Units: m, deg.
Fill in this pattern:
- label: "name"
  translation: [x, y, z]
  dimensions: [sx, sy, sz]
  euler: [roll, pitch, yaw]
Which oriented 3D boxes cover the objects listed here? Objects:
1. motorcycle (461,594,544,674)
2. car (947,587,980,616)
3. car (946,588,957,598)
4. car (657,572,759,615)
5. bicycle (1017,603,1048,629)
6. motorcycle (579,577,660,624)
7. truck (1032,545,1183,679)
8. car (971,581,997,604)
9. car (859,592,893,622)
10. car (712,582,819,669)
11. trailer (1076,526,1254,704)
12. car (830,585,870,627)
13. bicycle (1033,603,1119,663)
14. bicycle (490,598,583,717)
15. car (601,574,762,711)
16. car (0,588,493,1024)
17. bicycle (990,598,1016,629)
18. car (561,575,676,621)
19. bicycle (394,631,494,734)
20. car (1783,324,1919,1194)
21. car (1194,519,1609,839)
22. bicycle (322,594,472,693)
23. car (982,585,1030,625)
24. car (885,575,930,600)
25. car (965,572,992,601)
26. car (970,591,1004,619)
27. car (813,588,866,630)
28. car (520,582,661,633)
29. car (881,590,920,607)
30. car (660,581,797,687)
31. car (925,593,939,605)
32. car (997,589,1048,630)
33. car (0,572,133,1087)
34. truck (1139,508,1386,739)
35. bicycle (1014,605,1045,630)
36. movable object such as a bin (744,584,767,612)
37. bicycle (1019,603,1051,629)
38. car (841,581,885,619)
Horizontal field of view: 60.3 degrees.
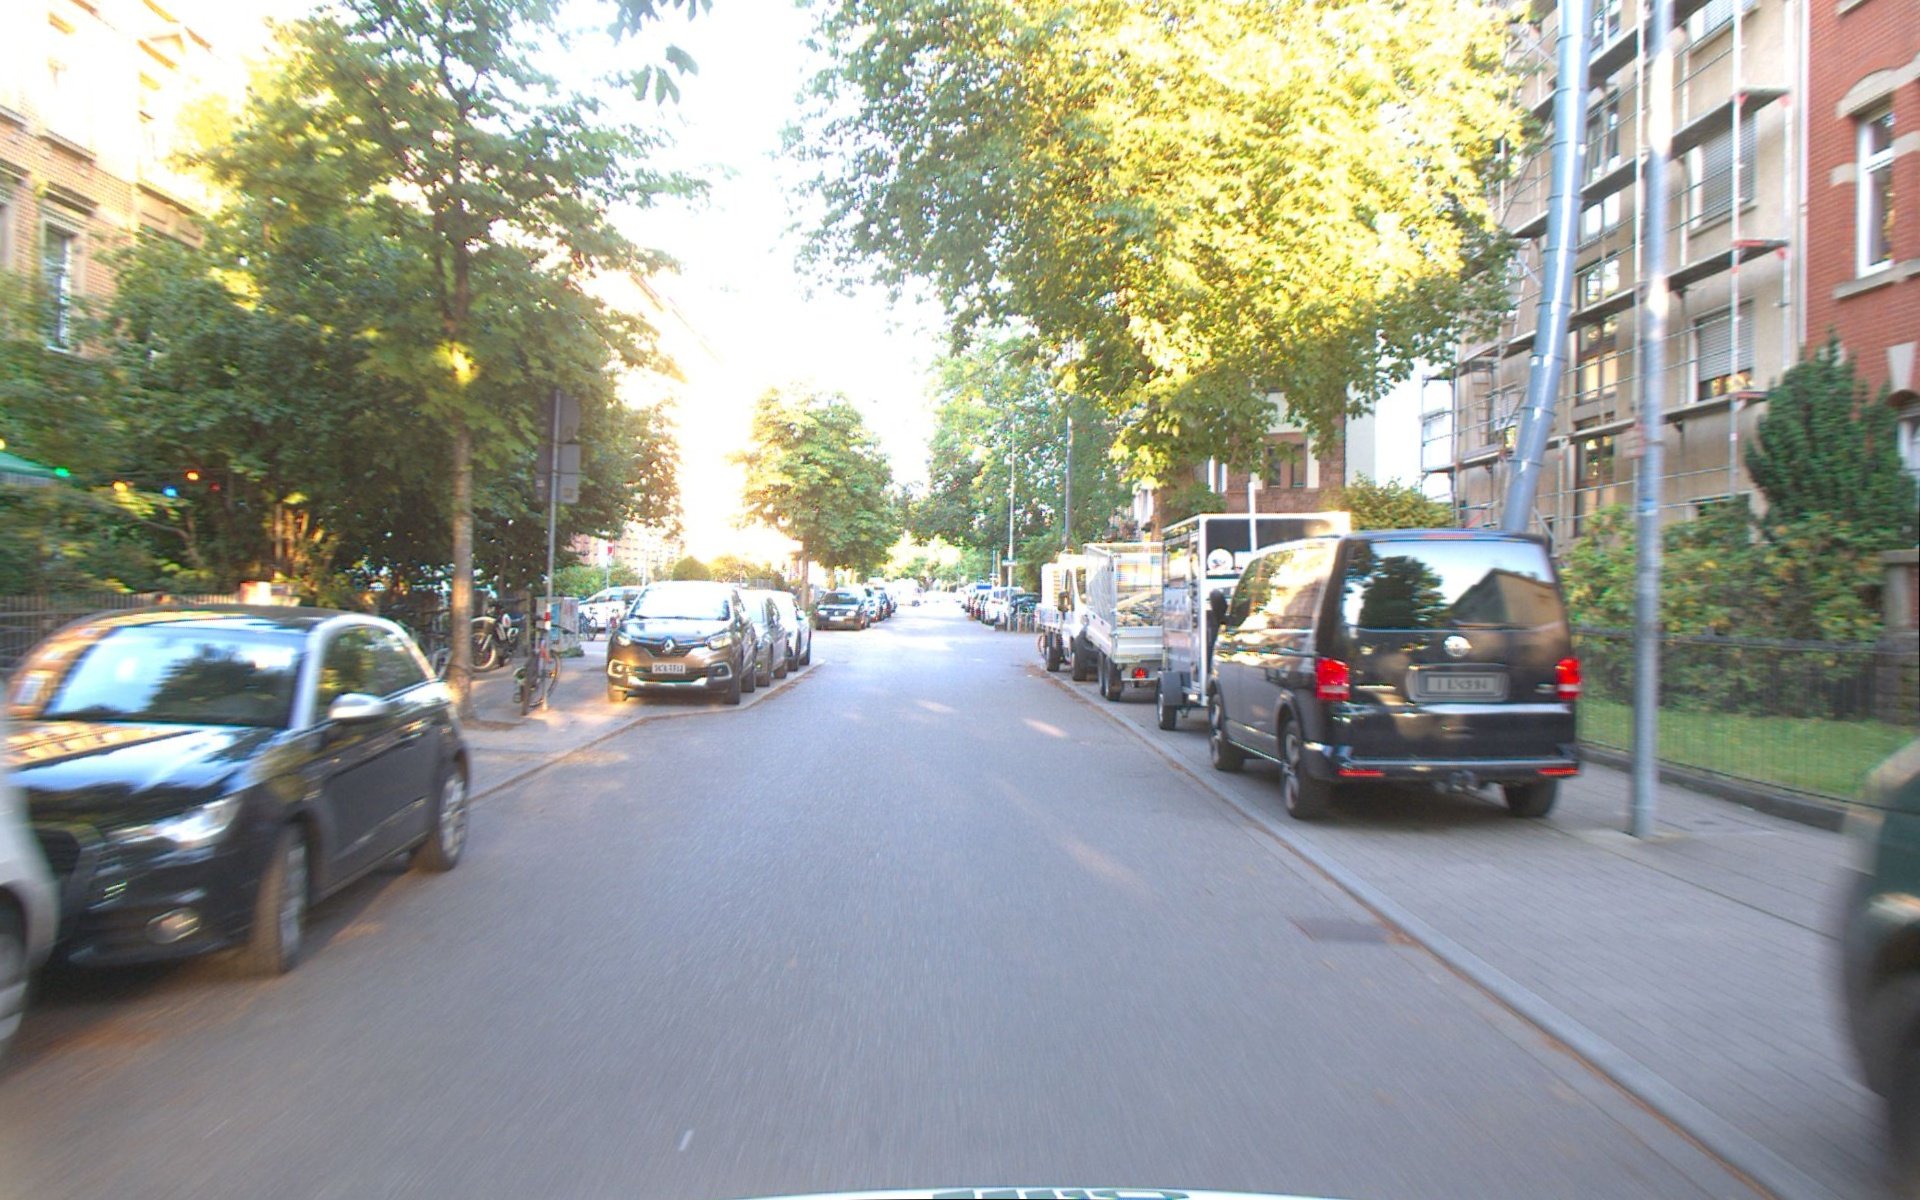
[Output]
- label: "motorcycle"
  translation: [-7.644, 0.534, 27.777]
  dimensions: [0.570, 1.176, 2.891]
  euler: [3, 1, -1]
- label: "car"
  translation: [0.172, 0.093, 97.013]
  dimensions: [1.653, 1.634, 3.937]
  euler: [1, 0, -3]
- label: "car"
  translation: [-1.337, -1.079, 256.875]
  dimensions: [1.681, 1.624, 3.482]
  euler: [1, 1, -1]
- label: "car"
  translation: [-10.657, -0.280, 70.183]
  dimensions: [4.011, 1.554, 1.708]
  euler: [4, 0, -2]
- label: "bicycle"
  translation: [2.815, 0.613, 64.249]
  dimensions: [1.207, 0.964, 0.328]
  euler: [0, 1, -24]
- label: "motorcycle"
  translation: [-12.438, 0.032, 60.435]
  dimensions: [2.791, 1.667, 0.675]
  euler: [1, 0, 7]
- label: "truck"
  translation: [2.669, 0.211, 31.662]
  dimensions: [1.938, 2.284, 6.772]
  euler: [0, 0, -3]
- label: "car"
  translation: [1.642, -0.521, 113.883]
  dimensions: [1.508, 1.548, 3.429]
  euler: [1, 0, -3]
- label: "car"
  translation: [-4.599, 0.356, 90.904]
  dimensions: [1.681, 1.593, 3.787]
  euler: [1, 1, -1]
- label: "car"
  translation: [-3.850, 0.455, 33.413]
  dimensions: [1.656, 1.528, 4.737]
  euler: [3, 1, -2]
- label: "trailer"
  translation: [2.928, 0.179, 24.580]
  dimensions: [1.914, 2.335, 4.644]
  euler: [-2, 1, -1]
- label: "car"
  translation: [-4.526, 0.230, 67.767]
  dimensions: [1.564, 1.631, 3.741]
  euler: [1, 1, -4]
- label: "bicycle"
  translation: [2.612, 0.740, 37.229]
  dimensions: [1.866, 1.280, 0.406]
  euler: [-2, 0, -7]
- label: "bicycle"
  translation: [-4.941, 0.640, 19.414]
  dimensions: [0.472, 1.277, 1.900]
  euler: [4, 1, 2]
- label: "car"
  translation: [-3.686, 0.492, 22.568]
  dimensions: [1.656, 1.590, 4.399]
  euler: [3, 1, -4]
- label: "car"
  translation: [-3.378, 0.711, 7.668]
  dimensions: [1.520, 1.511, 3.692]
  euler: [0, 1, -2]
- label: "bicycle"
  translation: [1.692, 0.511, 65.063]
  dimensions: [0.434, 1.193, 1.635]
  euler: [1, 0, 24]
- label: "car"
  translation: [-11.841, -0.090, 57.424]
  dimensions: [3.487, 1.472, 1.819]
  euler: [1, 1, 8]
- label: "bicycle"
  translation: [-5.375, 0.835, 17.316]
  dimensions: [0.407, 0.945, 1.735]
  euler: [3, 1, 2]
- label: "car"
  translation: [3.281, 0.395, 2.149]
  dimensions: [1.914, 2.094, 4.830]
  euler: [-2, 1, -1]
- label: "car"
  translation: [3.152, 0.460, 12.864]
  dimensions: [1.802, 1.976, 4.612]
  euler: [-2, 1, -2]
- label: "bicycle"
  translation: [-7.853, 0.569, 23.211]
  dimensions: [0.593, 1.307, 2.486]
  euler: [0, 0, 19]
- label: "car"
  translation: [2.020, 0.215, 74.046]
  dimensions: [1.762, 1.741, 4.598]
  euler: [0, 0, -3]
- label: "car"
  translation: [-5.104, -1.191, 160.220]
  dimensions: [4.263, 2.358, 1.745]
  euler: [1, 0, -3]
- label: "car"
  translation: [1.291, -0.929, 117.886]
  dimensions: [1.647, 1.975, 3.878]
  euler: [1, 0, -3]
- label: "car"
  translation: [1.446, 0.253, 89.370]
  dimensions: [1.652, 1.466, 4.208]
  euler: [-1, 0, -1]
- label: "car"
  translation: [-4.532, 0.301, 62.758]
  dimensions: [1.583, 1.496, 3.962]
  euler: [1, 1, 1]
- label: "car"
  translation: [-11.686, 0.229, 52.425]
  dimensions: [4.005, 1.472, 1.711]
  euler: [1, 1, 8]
- label: "car"
  translation: [-5.677, -0.150, 157.467]
  dimensions: [3.548, 1.487, 1.605]
  euler: [1, 0, -5]
- label: "car"
  translation: [-3.745, 0.527, 27.445]
  dimensions: [1.655, 1.528, 4.401]
  euler: [3, 0, -1]
- label: "car"
  translation: [-3.723, -0.146, 222.078]
  dimensions: [1.776, 1.624, 3.482]
  euler: [1, 1, -1]
- label: "car"
  translation: [2.558, 0.371, 68.290]
  dimensions: [1.654, 1.620, 3.655]
  euler: [1, 1, -5]
- label: "car"
  translation: [-3.550, 0.665, 3.705]
  dimensions: [1.520, 1.511, 3.693]
  euler: [3, 1, -1]
- label: "truck"
  translation: [3.327, 0.199, 19.139]
  dimensions: [1.914, 2.285, 4.644]
  euler: [-2, 1, -1]
- label: "bicycle"
  translation: [2.725, 0.676, 64.862]
  dimensions: [1.210, 0.968, 0.327]
  euler: [-1, 2, -29]
- label: "movable object such as a bin"
  translation: [-10.597, -0.110, 85.712]
  dimensions: [0.991, 1.344, 1.005]
  euler: [3, 1, 4]
- label: "bicycle"
  translation: [2.896, 0.601, 63.551]
  dimensions: [1.207, 0.974, 0.328]
  euler: [0, 1, -24]
- label: "car"
  translation: [-4.620, -0.022, 79.262]
  dimensions: [1.882, 1.747, 4.427]
  euler: [1, 1, -1]
